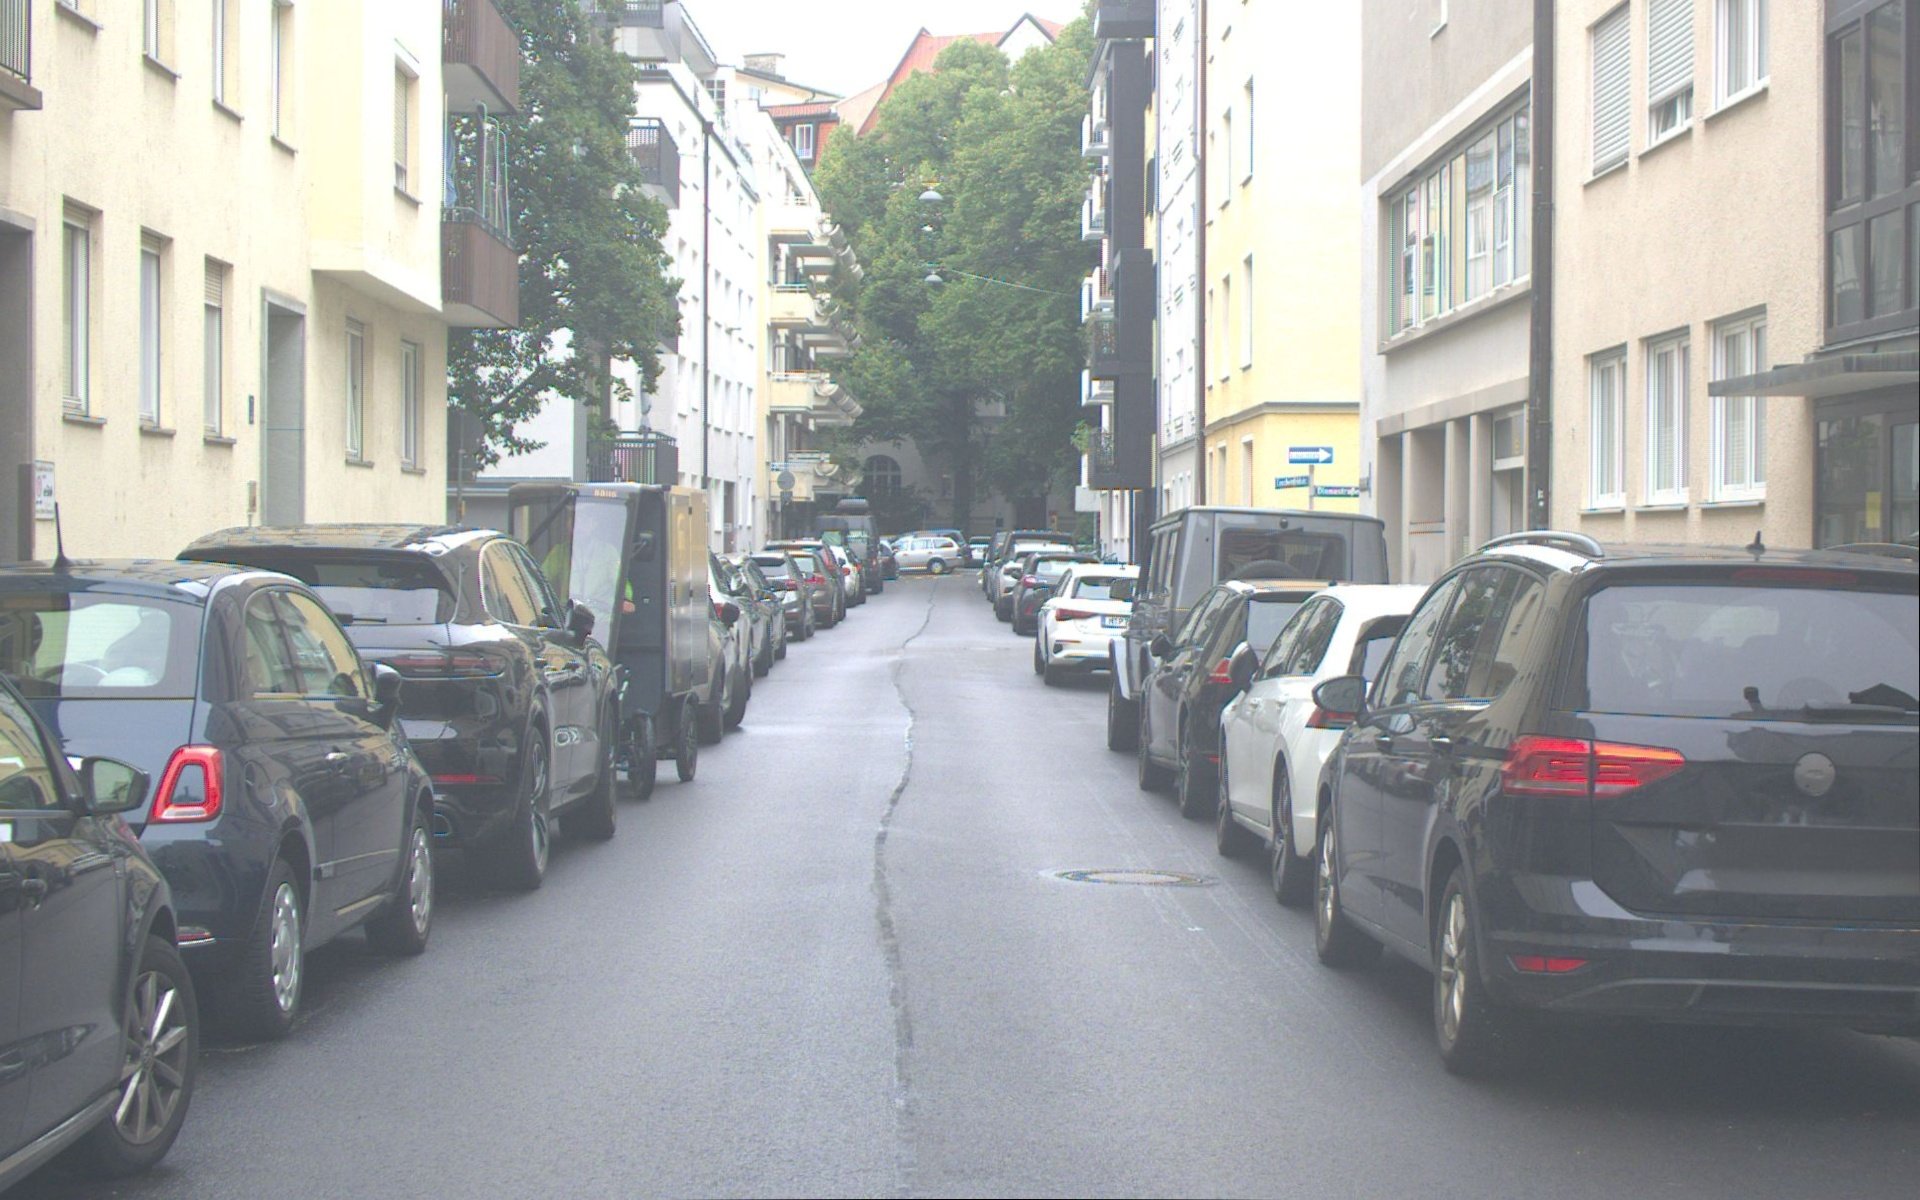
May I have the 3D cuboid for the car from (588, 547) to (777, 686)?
[{"bbox_3d":[-3.161,0.149,39.932,1.766,1.478,4.424,0,1,1],"label":"car"}]

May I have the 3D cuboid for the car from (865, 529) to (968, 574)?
[{"bbox_3d":[-1.687,-1.879,131.880,3.885,1.579,1.648,-2,1,-1],"label":"car"}]

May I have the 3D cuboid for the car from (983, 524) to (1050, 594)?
[{"bbox_3d":[1.722,-1.282,106.056,1.829,1.992,4.416,4,1,-1],"label":"car"}]

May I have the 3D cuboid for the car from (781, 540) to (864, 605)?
[{"bbox_3d":[-3.315,-0.691,83.620,1.777,1.482,4.519,-2,1,0],"label":"car"}]

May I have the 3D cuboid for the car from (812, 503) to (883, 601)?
[{"bbox_3d":[-3.353,-1.459,103.397,1.936,2.792,4.533,-2,1,-1],"label":"car"}]

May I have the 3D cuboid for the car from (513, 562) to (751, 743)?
[{"bbox_3d":[-2.712,0.393,29.099,1.652,1.431,3.803,0,1,0],"label":"car"}]

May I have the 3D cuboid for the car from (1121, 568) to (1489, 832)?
[{"bbox_3d":[2.101,0.563,22.040,1.711,1.481,4.245,2,0,-3],"label":"car"}]

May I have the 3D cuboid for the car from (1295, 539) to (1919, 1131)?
[{"bbox_3d":[2.255,0.643,11.641,1.711,1.602,4.244,2,0,-1],"label":"car"}]

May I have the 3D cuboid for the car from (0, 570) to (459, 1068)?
[{"bbox_3d":[-2.797,0.630,11.852,1.563,1.455,3.475,0,1,1],"label":"car"}]

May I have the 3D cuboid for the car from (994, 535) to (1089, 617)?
[{"bbox_3d":[1.672,-0.526,71.911,1.682,1.562,4.416,3,1,-2],"label":"car"}]

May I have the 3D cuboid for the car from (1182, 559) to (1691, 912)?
[{"bbox_3d":[2.204,0.572,17.025,1.711,1.481,4.245,2,0,-3],"label":"car"}]

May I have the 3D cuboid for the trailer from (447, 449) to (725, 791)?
[{"bbox_3d":[-2.427,0.103,22.919,1.355,2.108,3.318,0,1,2],"label":"trailer"}]

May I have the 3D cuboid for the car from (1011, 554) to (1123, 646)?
[{"bbox_3d":[1.891,-0.030,61.692,1.751,1.464,4.343,3,1,-1],"label":"car"}]

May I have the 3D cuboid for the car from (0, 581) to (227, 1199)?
[{"bbox_3d":[-2.619,0.703,6.968,1.563,1.455,3.764,0,1,-2],"label":"car"}]

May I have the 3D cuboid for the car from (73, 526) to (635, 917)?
[{"bbox_3d":[-2.780,0.491,16.782,1.879,1.654,4.414,0,1,1],"label":"car"}]

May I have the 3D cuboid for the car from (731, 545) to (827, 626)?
[{"bbox_3d":[-3.363,-0.297,64.386,1.693,1.437,3.978,-1,1,-2],"label":"car"}]

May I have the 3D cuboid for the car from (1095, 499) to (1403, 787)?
[{"bbox_3d":[2.153,0.256,26.732,1.750,1.968,4.343,3,1,-3],"label":"car"}]

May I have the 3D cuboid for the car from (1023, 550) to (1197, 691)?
[{"bbox_3d":[1.773,0.212,41.708,1.819,1.403,3.953,2,3,-1],"label":"car"}]

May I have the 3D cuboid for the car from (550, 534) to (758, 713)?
[{"bbox_3d":[-2.992,0.196,34.370,1.765,1.669,4.368,0,1,-1],"label":"car"}]

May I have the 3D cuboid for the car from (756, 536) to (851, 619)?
[{"bbox_3d":[-3.177,-0.492,70.482,1.776,1.623,4.415,-1,1,-1],"label":"car"}]

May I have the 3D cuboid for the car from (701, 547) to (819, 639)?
[{"bbox_3d":[-3.267,-0.142,56.745,1.693,1.437,3.942,-1,1,0],"label":"car"}]

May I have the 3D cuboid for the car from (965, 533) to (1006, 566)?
[{"bbox_3d":[1.099,-2.198,149.044,1.642,1.379,3.746,-2,1,-1],"label":"car"}]

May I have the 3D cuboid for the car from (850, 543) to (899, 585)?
[{"bbox_3d":[-3.023,-1.291,122.054,1.642,1.379,3.483,-2,1,-1],"label":"car"}]

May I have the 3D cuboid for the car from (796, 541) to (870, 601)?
[{"bbox_3d":[-3.255,-0.759,88.725,1.776,1.448,4.046,-2,1,-1],"label":"car"}]
